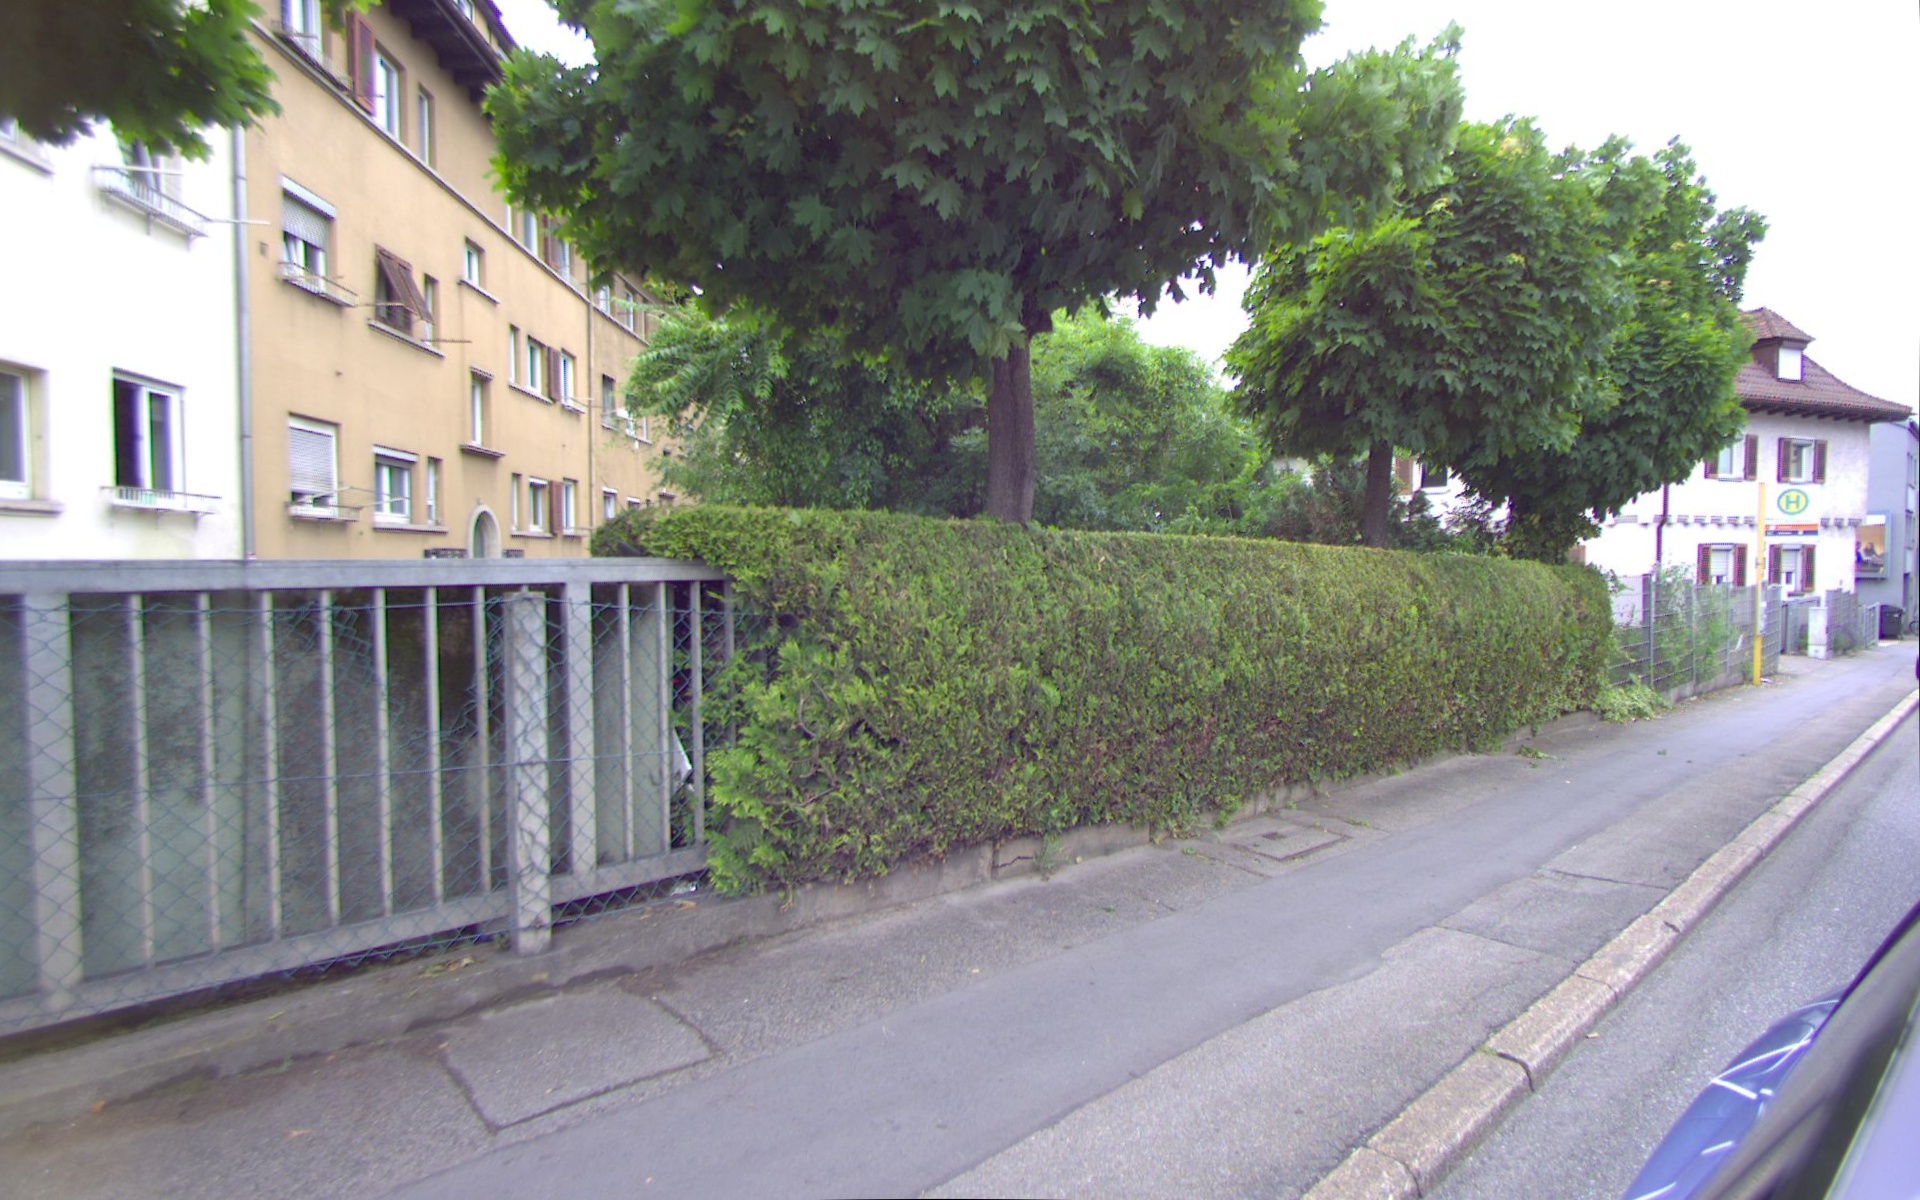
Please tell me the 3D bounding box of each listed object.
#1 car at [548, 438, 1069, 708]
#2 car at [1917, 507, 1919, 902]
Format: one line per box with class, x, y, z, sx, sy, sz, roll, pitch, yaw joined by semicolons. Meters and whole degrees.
car;-0.963;-0.171;7.328;3.381;1.478;1.698;-1;0;-43
car;5.811;0.545;4.465;4.629;1.804;1.861;-1;0;-41
